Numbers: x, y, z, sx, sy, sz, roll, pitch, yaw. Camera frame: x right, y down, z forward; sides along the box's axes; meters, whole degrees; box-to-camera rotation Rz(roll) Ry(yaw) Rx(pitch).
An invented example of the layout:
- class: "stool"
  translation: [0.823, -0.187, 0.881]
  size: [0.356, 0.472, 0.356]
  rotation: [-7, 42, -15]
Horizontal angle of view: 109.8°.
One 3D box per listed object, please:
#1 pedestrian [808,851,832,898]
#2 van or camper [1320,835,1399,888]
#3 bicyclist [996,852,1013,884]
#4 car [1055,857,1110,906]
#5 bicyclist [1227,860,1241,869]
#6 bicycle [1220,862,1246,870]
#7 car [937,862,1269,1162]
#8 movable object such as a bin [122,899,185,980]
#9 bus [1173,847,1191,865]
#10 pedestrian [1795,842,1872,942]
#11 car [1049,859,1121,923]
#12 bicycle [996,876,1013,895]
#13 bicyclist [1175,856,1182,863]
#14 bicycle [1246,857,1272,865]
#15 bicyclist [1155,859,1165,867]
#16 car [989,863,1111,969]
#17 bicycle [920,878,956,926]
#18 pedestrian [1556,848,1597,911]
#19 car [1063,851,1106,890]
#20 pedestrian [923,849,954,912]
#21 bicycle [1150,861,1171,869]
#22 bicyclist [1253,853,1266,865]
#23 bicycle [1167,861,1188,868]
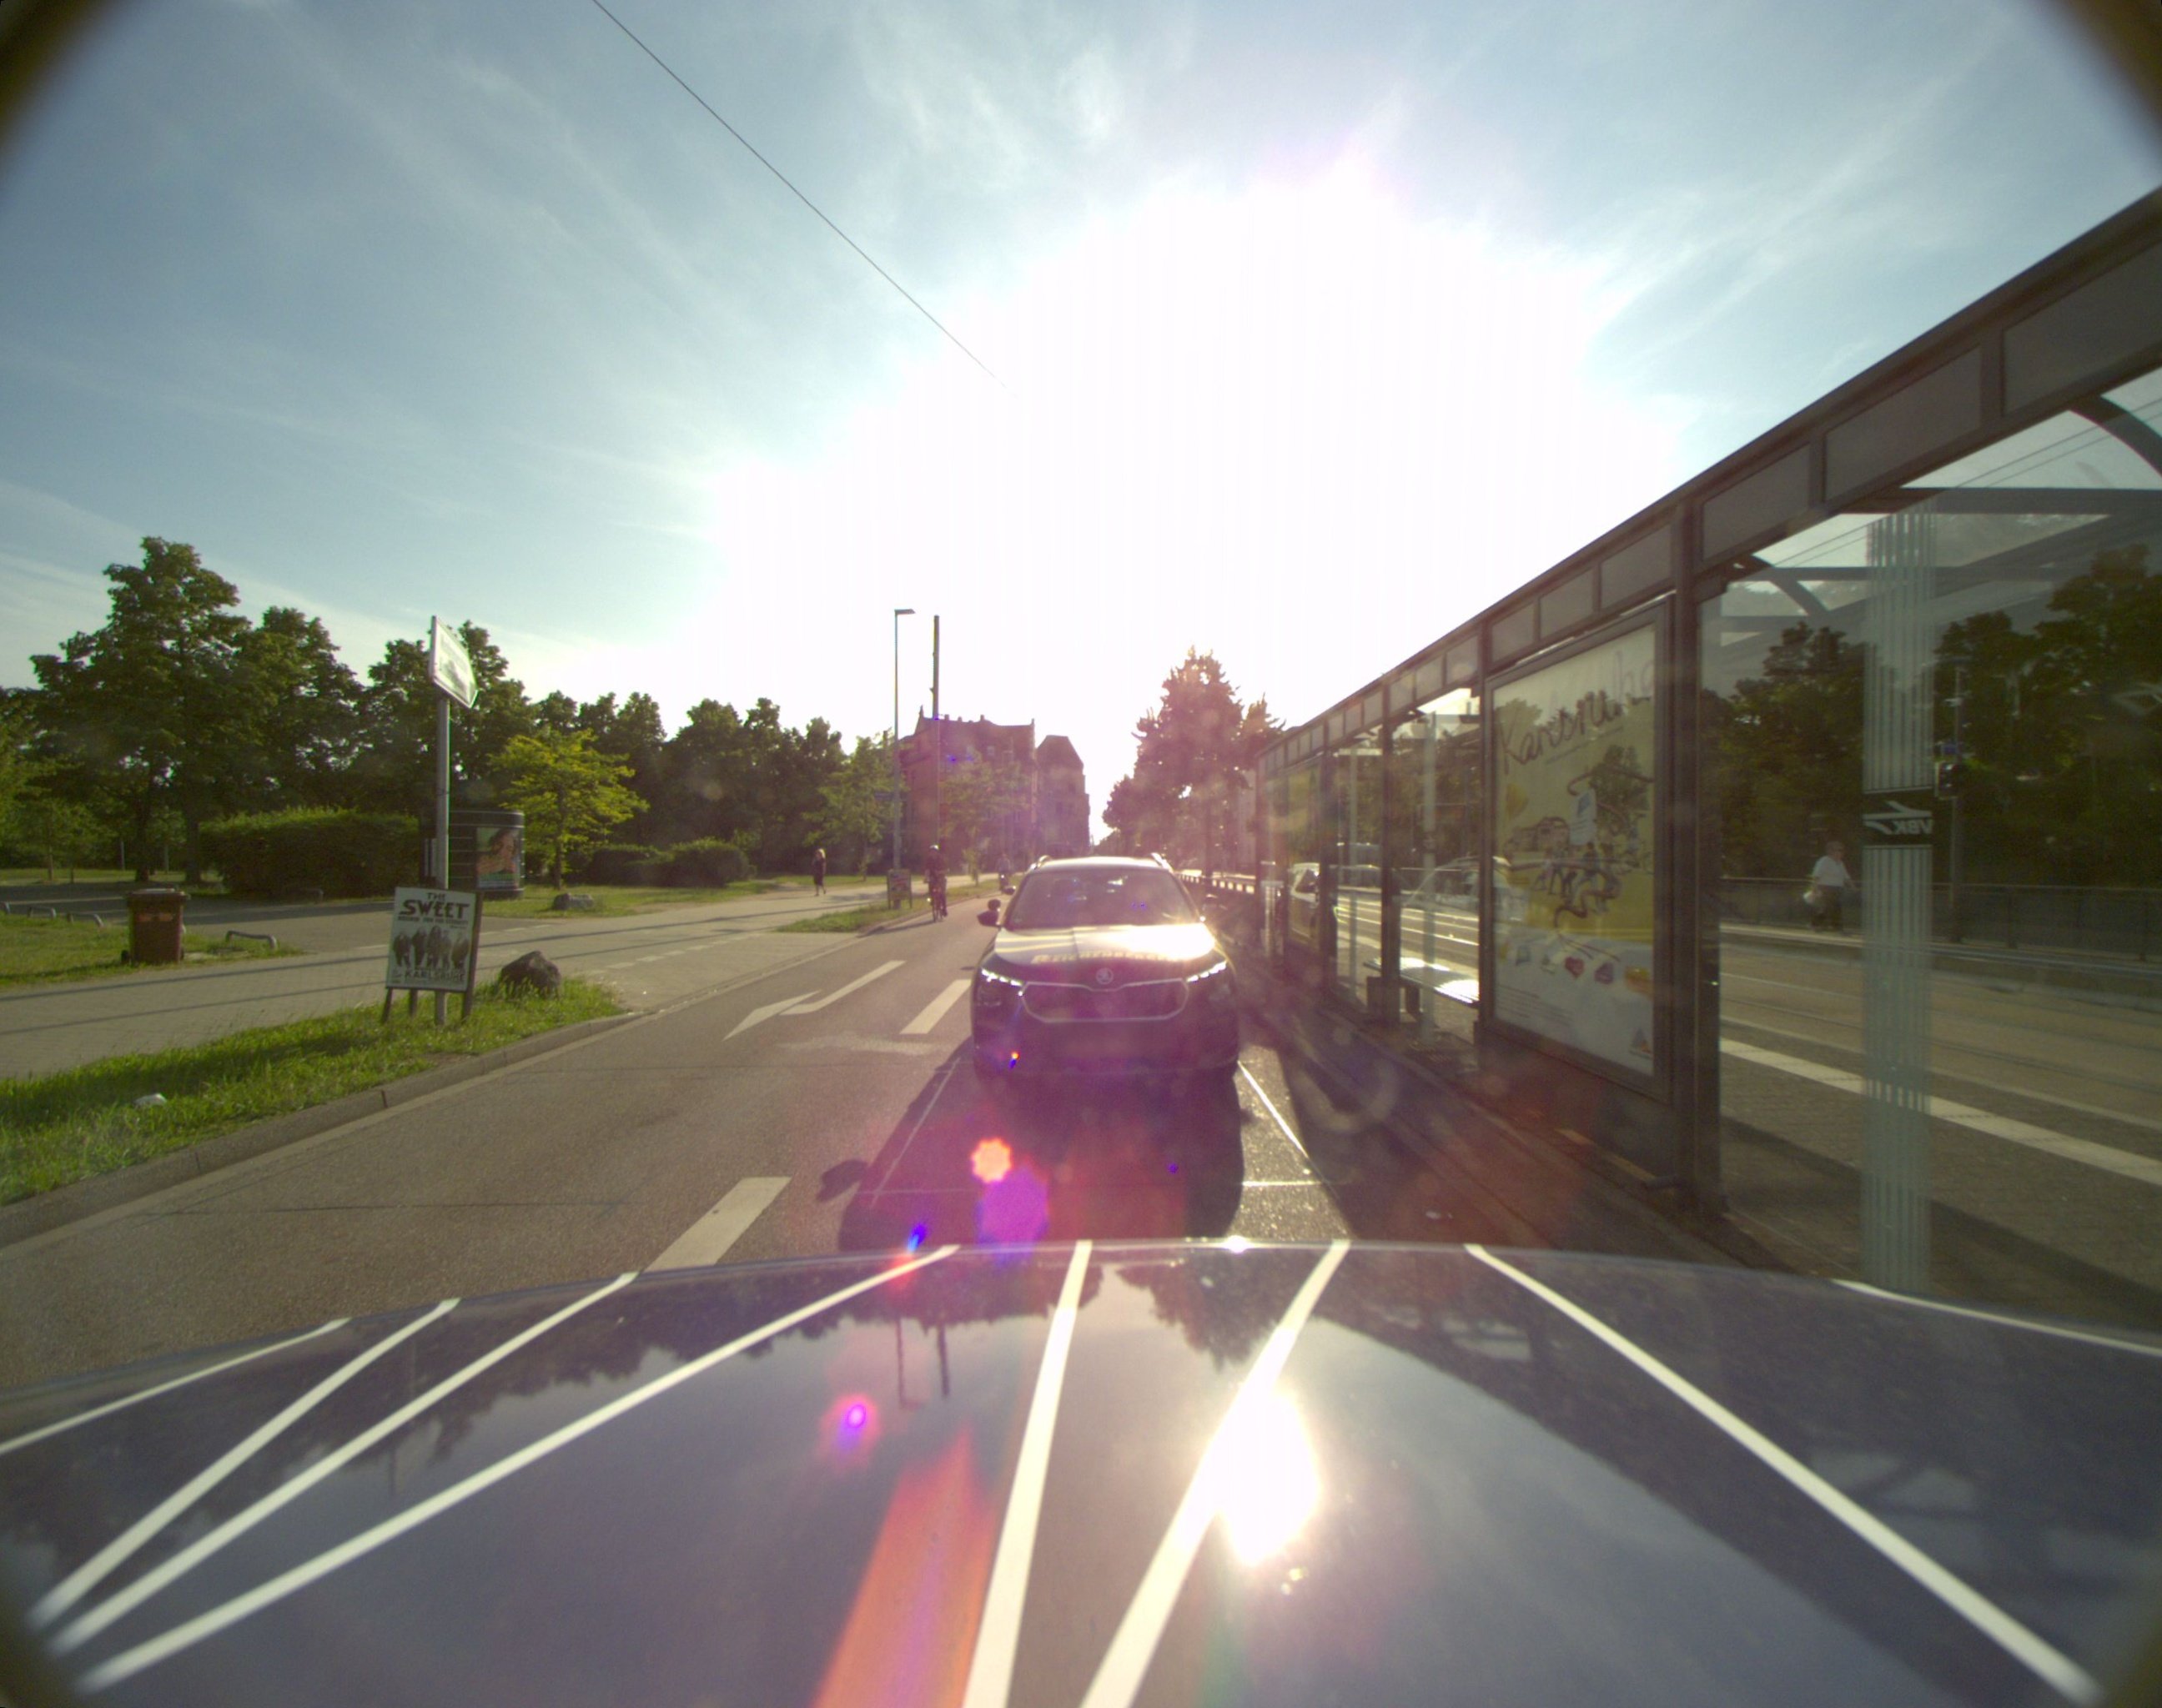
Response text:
- class: "pedestrian"
  translation: [-9.573, 0.745, 27.900]
  size: [0.621, 1.675, 0.618]
  rotation: [-2, 1, 1]
- class: "van or camper"
  translation: [16.990, 0.369, 46.762]
  size: [2.527, 2.951, 6.411]
  rotation: [-2, 1, 1]
- class: "bicyclist"
  translation: [-3.443, 0.624, 34.237]
  size: [0.689, 1.445, 1.111]
  rotation: [0, 0, 0]
- class: "car"
  translation: [0.100, 0.913, 26.875]
  size: [1.756, 1.534, 4.235]
  rotation: [-1, 0, 1]
- class: "bicyclist"
  translation: [18.352, 1.255, 91.130]
  size: [1.402, 1.000, 0.888]
  rotation: [0, 0, -1]
- class: "bicycle"
  translation: [18.222, 1.423, 91.141]
  size: [2.962, 0.974, 0.879]
  rotation: [0, 0, -2]
- class: "car"
  translation: [0.155, 0.881, 6.219]
  size: [1.756, 1.534, 4.235]
  rotation: [-1, 0, 1]
- class: "movable object such as a bin"
  translation: [-11.417, 1.030, 9.363]
  size: [0.603, 0.912, 0.457]
  rotation: [1, 1, 42]
- class: "bus"
  translation: [19.907, 0.343, 150.026]
  size: [2.437, 3.415, 9.261]
  rotation: [-2, 1, 1]
- class: "pedestrian"
  translation: [13.088, 0.649, 13.230]
  size: [0.621, 1.675, 0.618]
  rotation: [3, 1, 1]
- class: "car"
  translation: [0.136, 0.931, 20.925]
  size: [1.756, 1.534, 4.235]
  rotation: [-1, 0, 1]
- class: "bicycle"
  translation: [-3.418, 1.396, 34.272]
  size: [0.567, 0.789, 2.041]
  rotation: [0, 0, 0]
- class: "bicyclist"
  translation: [12.114, 0.710, 94.176]
  size: [0.897, 0.908, 0.616]
  rotation: [0, 0, 5]
- class: "bicycle"
  translation: [21.976, 0.917, 93.802]
  size: [2.962, 0.974, 0.879]
  rotation: [0, 0, -2]
- class: "bicyclist"
  translation: [9.596, 1.093, 92.306]
  size: [1.217, 1.018, 0.672]
  rotation: [0, 0, 4]
- class: "car"
  translation: [-0.416, 0.936, 13.257]
  size: [1.756, 1.451, 4.235]
  rotation: [-1, 0, 1]
- class: "bicycle"
  translation: [-3.577, 1.171, 18.902]
  size: [0.652, 1.040, 1.977]
  rotation: [-2, 1, -17]
- class: "pedestrian"
  translation: [13.519, 0.692, 20.756]
  size: [0.621, 1.675, 0.618]
  rotation: [3, 1, 1]
- class: "car"
  translation: [0.173, 0.680, 33.265]
  size: [1.756, 1.534, 4.235]
  rotation: [-1, 0, 1]
- class: "pedestrian"
  translation: [-3.583, 0.646, 19.056]
  size: [0.638, 1.512, 0.844]
  rotation: [-2, 1, -16]
- class: "bicycle"
  translation: [9.659, 1.351, 92.298]
  size: [2.536, 0.876, 0.631]
  rotation: [0, 0, 5]
- class: "bicyclist"
  translation: [21.988, 0.609, 93.776]
  size: [1.402, 1.538, 0.888]
  rotation: [0, 0, -1]
- class: "bicycle"
  translation: [11.969, 1.326, 94.210]
  size: [2.536, 0.876, 0.631]
  rotation: [0, 0, 5]
